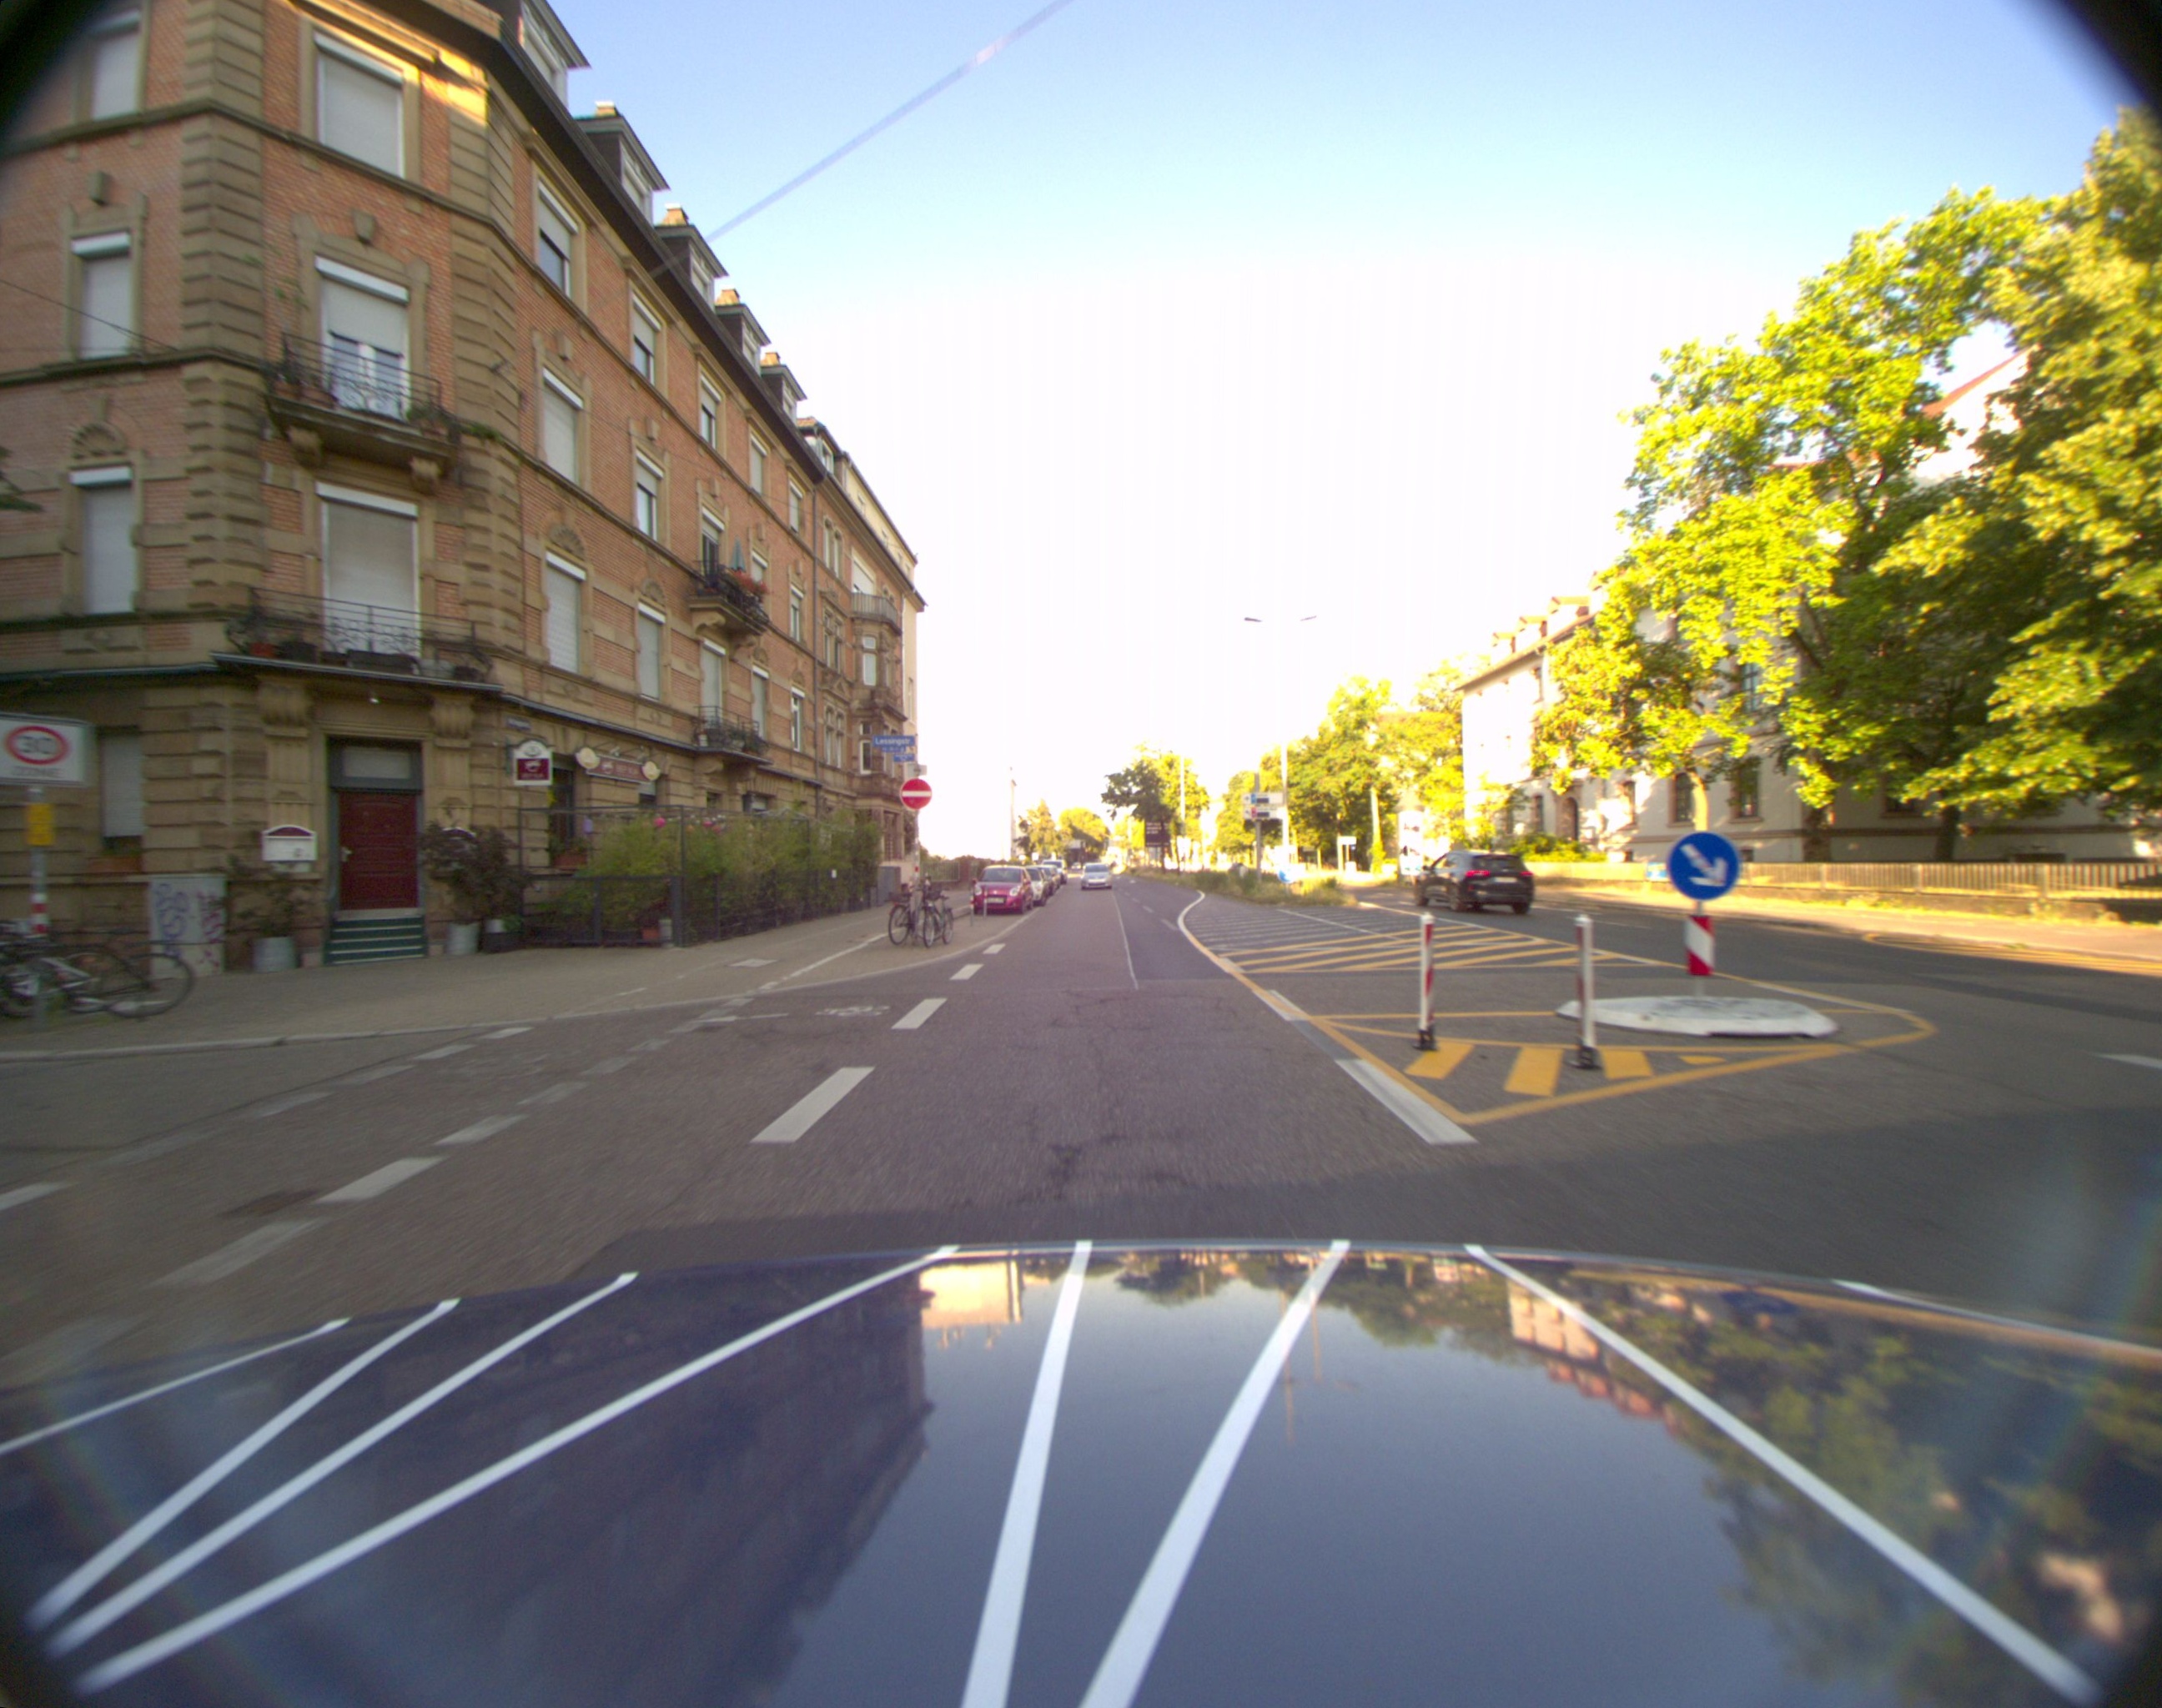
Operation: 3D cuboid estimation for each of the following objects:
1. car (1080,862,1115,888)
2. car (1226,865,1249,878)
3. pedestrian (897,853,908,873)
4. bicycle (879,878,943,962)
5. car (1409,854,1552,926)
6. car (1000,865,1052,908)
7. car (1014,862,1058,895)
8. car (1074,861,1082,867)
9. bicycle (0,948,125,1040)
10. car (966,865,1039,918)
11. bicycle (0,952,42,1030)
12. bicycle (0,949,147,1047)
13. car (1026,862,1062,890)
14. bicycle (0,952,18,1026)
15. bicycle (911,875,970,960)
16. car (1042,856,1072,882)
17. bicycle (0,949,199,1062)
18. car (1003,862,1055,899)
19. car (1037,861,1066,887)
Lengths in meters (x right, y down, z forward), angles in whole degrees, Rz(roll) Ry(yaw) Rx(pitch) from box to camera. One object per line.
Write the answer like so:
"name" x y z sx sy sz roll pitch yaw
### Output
"car" 0.930 1.181 43.658 1.895 1.454 3.966 0 -1 0
"car" 17.503 1.960 85.262 1.778 1.266 4.008 2 0 1
"pedestrian" -8.123 0.411 34.501 0.309 0.865 0.320 -3 0 34
"bicycle" -3.082 1.154 13.992 0.567 1.268 2.264 3 1 1
"car" 10.756 0.888 20.900 1.880 1.696 4.569 2 0 6
"car" -1.998 1.166 28.597 1.681 1.418 3.676 2 0 0
"car" -2.207 1.192 38.487 1.892 1.439 4.464 2 0 0
"car" -0.860 2.528 189.023 1.948 1.514 4.163 0 -1 0
"bicycle" -11.239 1.505 7.964 0.295 0.812 1.498 -2 2 11
"car" -2.417 1.130 24.109 1.730 1.456 3.547 2 0 3
"bicycle" -12.089 1.545 7.892 0.295 0.812 1.498 -2 2 11
"bicycle" -10.925 1.518 7.917 0.295 0.812 1.498 -2 2 11
"car" -2.070 1.221 43.035 1.751 1.418 3.840 2 0 0
"bicycle" -12.411 1.554 7.929 0.295 0.812 1.498 -2 2 11
"bicycle" -2.539 1.108 13.987 0.567 1.292 2.264 3 1 1
"car" -1.813 1.133 59.177 1.892 1.907 5.180 2 0 3
"bicycle" -9.991 1.486 7.485 0.295 0.812 1.736 -2 2 11
"car" -2.223 1.124 33.618 1.892 1.418 4.343 2 0 1
"car" -1.818 1.242 47.989 1.705 1.479 3.892 2 0 -1
